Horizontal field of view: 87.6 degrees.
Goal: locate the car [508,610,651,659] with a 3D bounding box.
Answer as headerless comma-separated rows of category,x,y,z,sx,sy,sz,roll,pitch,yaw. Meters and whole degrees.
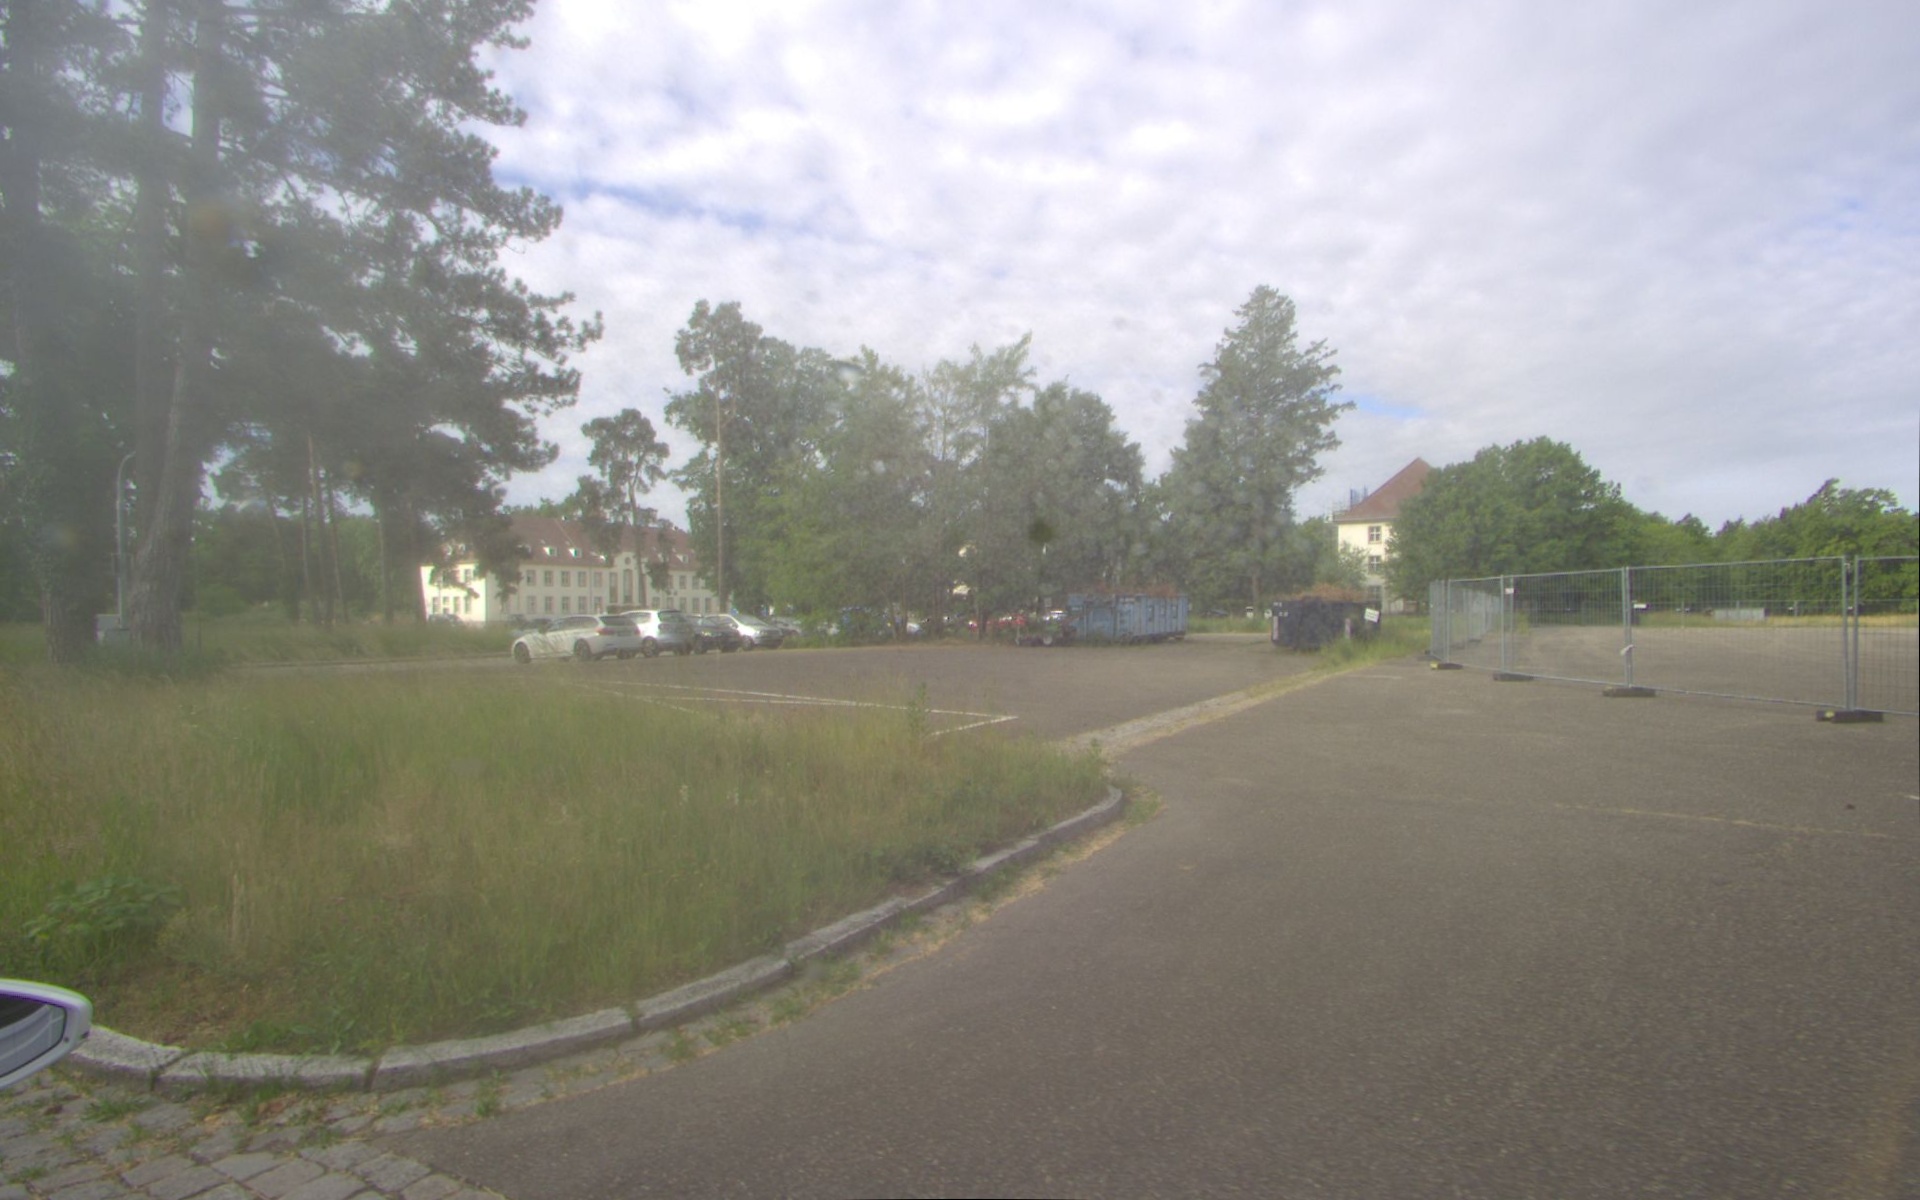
car,-11.955,1.073,31.443,4.379,1.434,1.751,-1,-1,28

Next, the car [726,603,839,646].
car,-7.287,0.983,41.013,4.378,1.708,1.865,-1,0,28

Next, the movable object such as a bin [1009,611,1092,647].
movable object such as a bin,2.961,0.930,32.806,2.504,1.098,1.060,1,1,30

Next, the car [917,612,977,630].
car,-0.907,1.494,70.382,3.933,1.225,1.658,-1,0,23

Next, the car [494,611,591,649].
car,-18.256,1.289,43.757,4.384,1.544,1.748,-1,0,33

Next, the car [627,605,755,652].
car,-9.722,1.000,36.153,4.378,1.598,1.865,-1,0,28

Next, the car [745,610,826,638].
car,-9.870,1.334,56.536,4.378,1.544,1.751,-1,0,28

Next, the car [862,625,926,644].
car,-4.340,2.246,65.453,3.940,1.225,1.655,-1,0,30

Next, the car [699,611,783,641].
car,-11.851,1.384,54.173,4.378,1.544,1.751,-1,0,28

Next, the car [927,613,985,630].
car,-0.275,1.570,73.627,3.933,1.225,1.658,-1,0,23

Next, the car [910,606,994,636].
car,-0.469,1.180,56.143,4.379,1.598,1.865,-1,0,28

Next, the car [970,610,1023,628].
car,2.952,1.516,80.537,3.936,1.373,1.657,-1,0,26

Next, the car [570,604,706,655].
car,-10.868,0.970,33.802,4.378,1.598,1.865,-1,0,28

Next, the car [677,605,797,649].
car,-8.654,1.028,38.828,4.378,1.598,1.865,-1,0,28

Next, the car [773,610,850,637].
car,-8.798,1.404,59.334,4.378,1.544,1.751,-1,0,28
